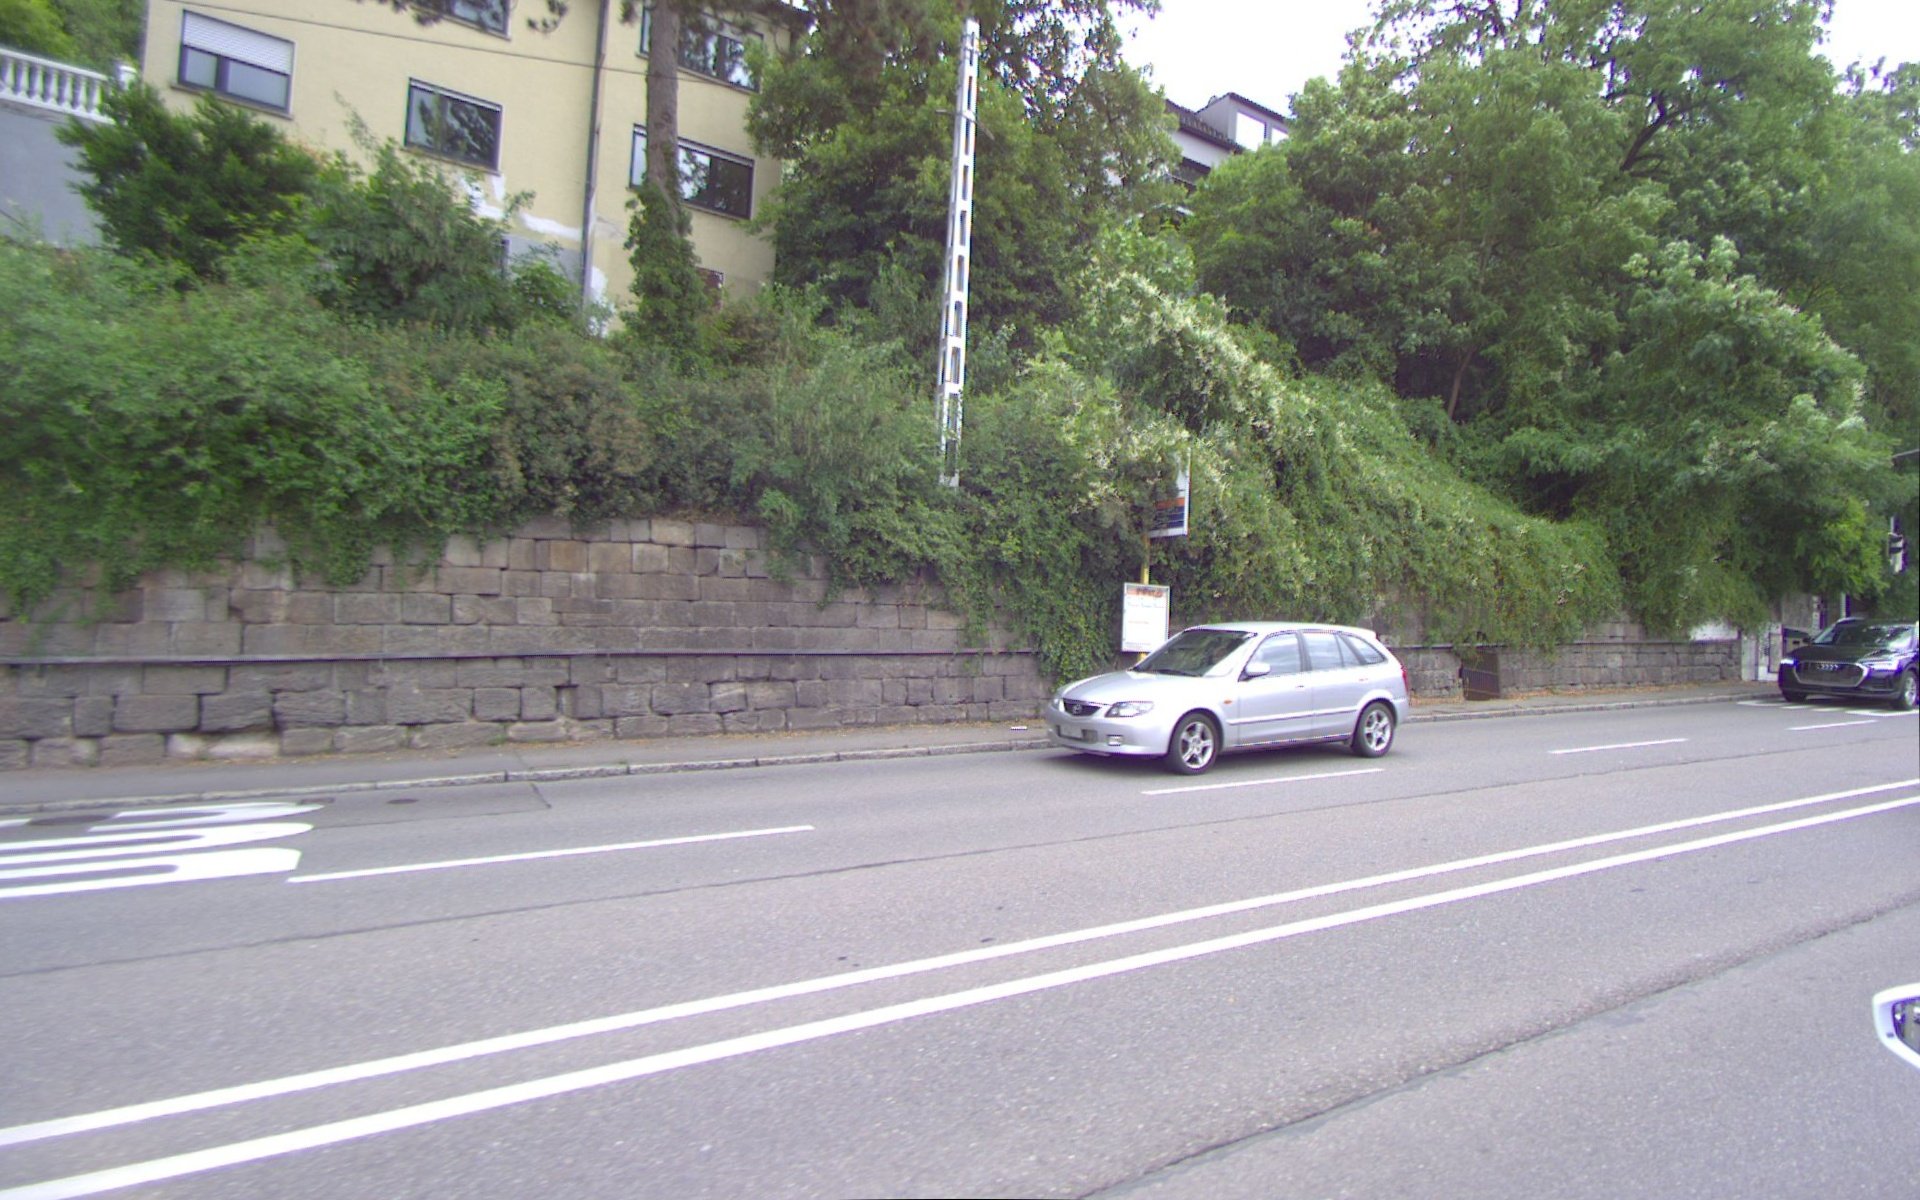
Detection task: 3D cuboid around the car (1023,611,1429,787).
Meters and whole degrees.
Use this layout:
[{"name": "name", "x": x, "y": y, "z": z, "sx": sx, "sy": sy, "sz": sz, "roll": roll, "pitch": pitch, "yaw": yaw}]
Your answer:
[{"name": "car", "x": 2.866, "y": 0.885, "z": 10.580, "sx": 4.183, "sy": 1.461, "sz": 1.668, "roll": 0, "pitch": 2, "yaw": -30}]

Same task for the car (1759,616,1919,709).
[{"name": "car", "x": 17.166, "y": 1.128, "z": 18.919, "sx": 4.198, "sy": 1.569, "sz": 1.933, "roll": 2, "pitch": -1, "yaw": -30}]
